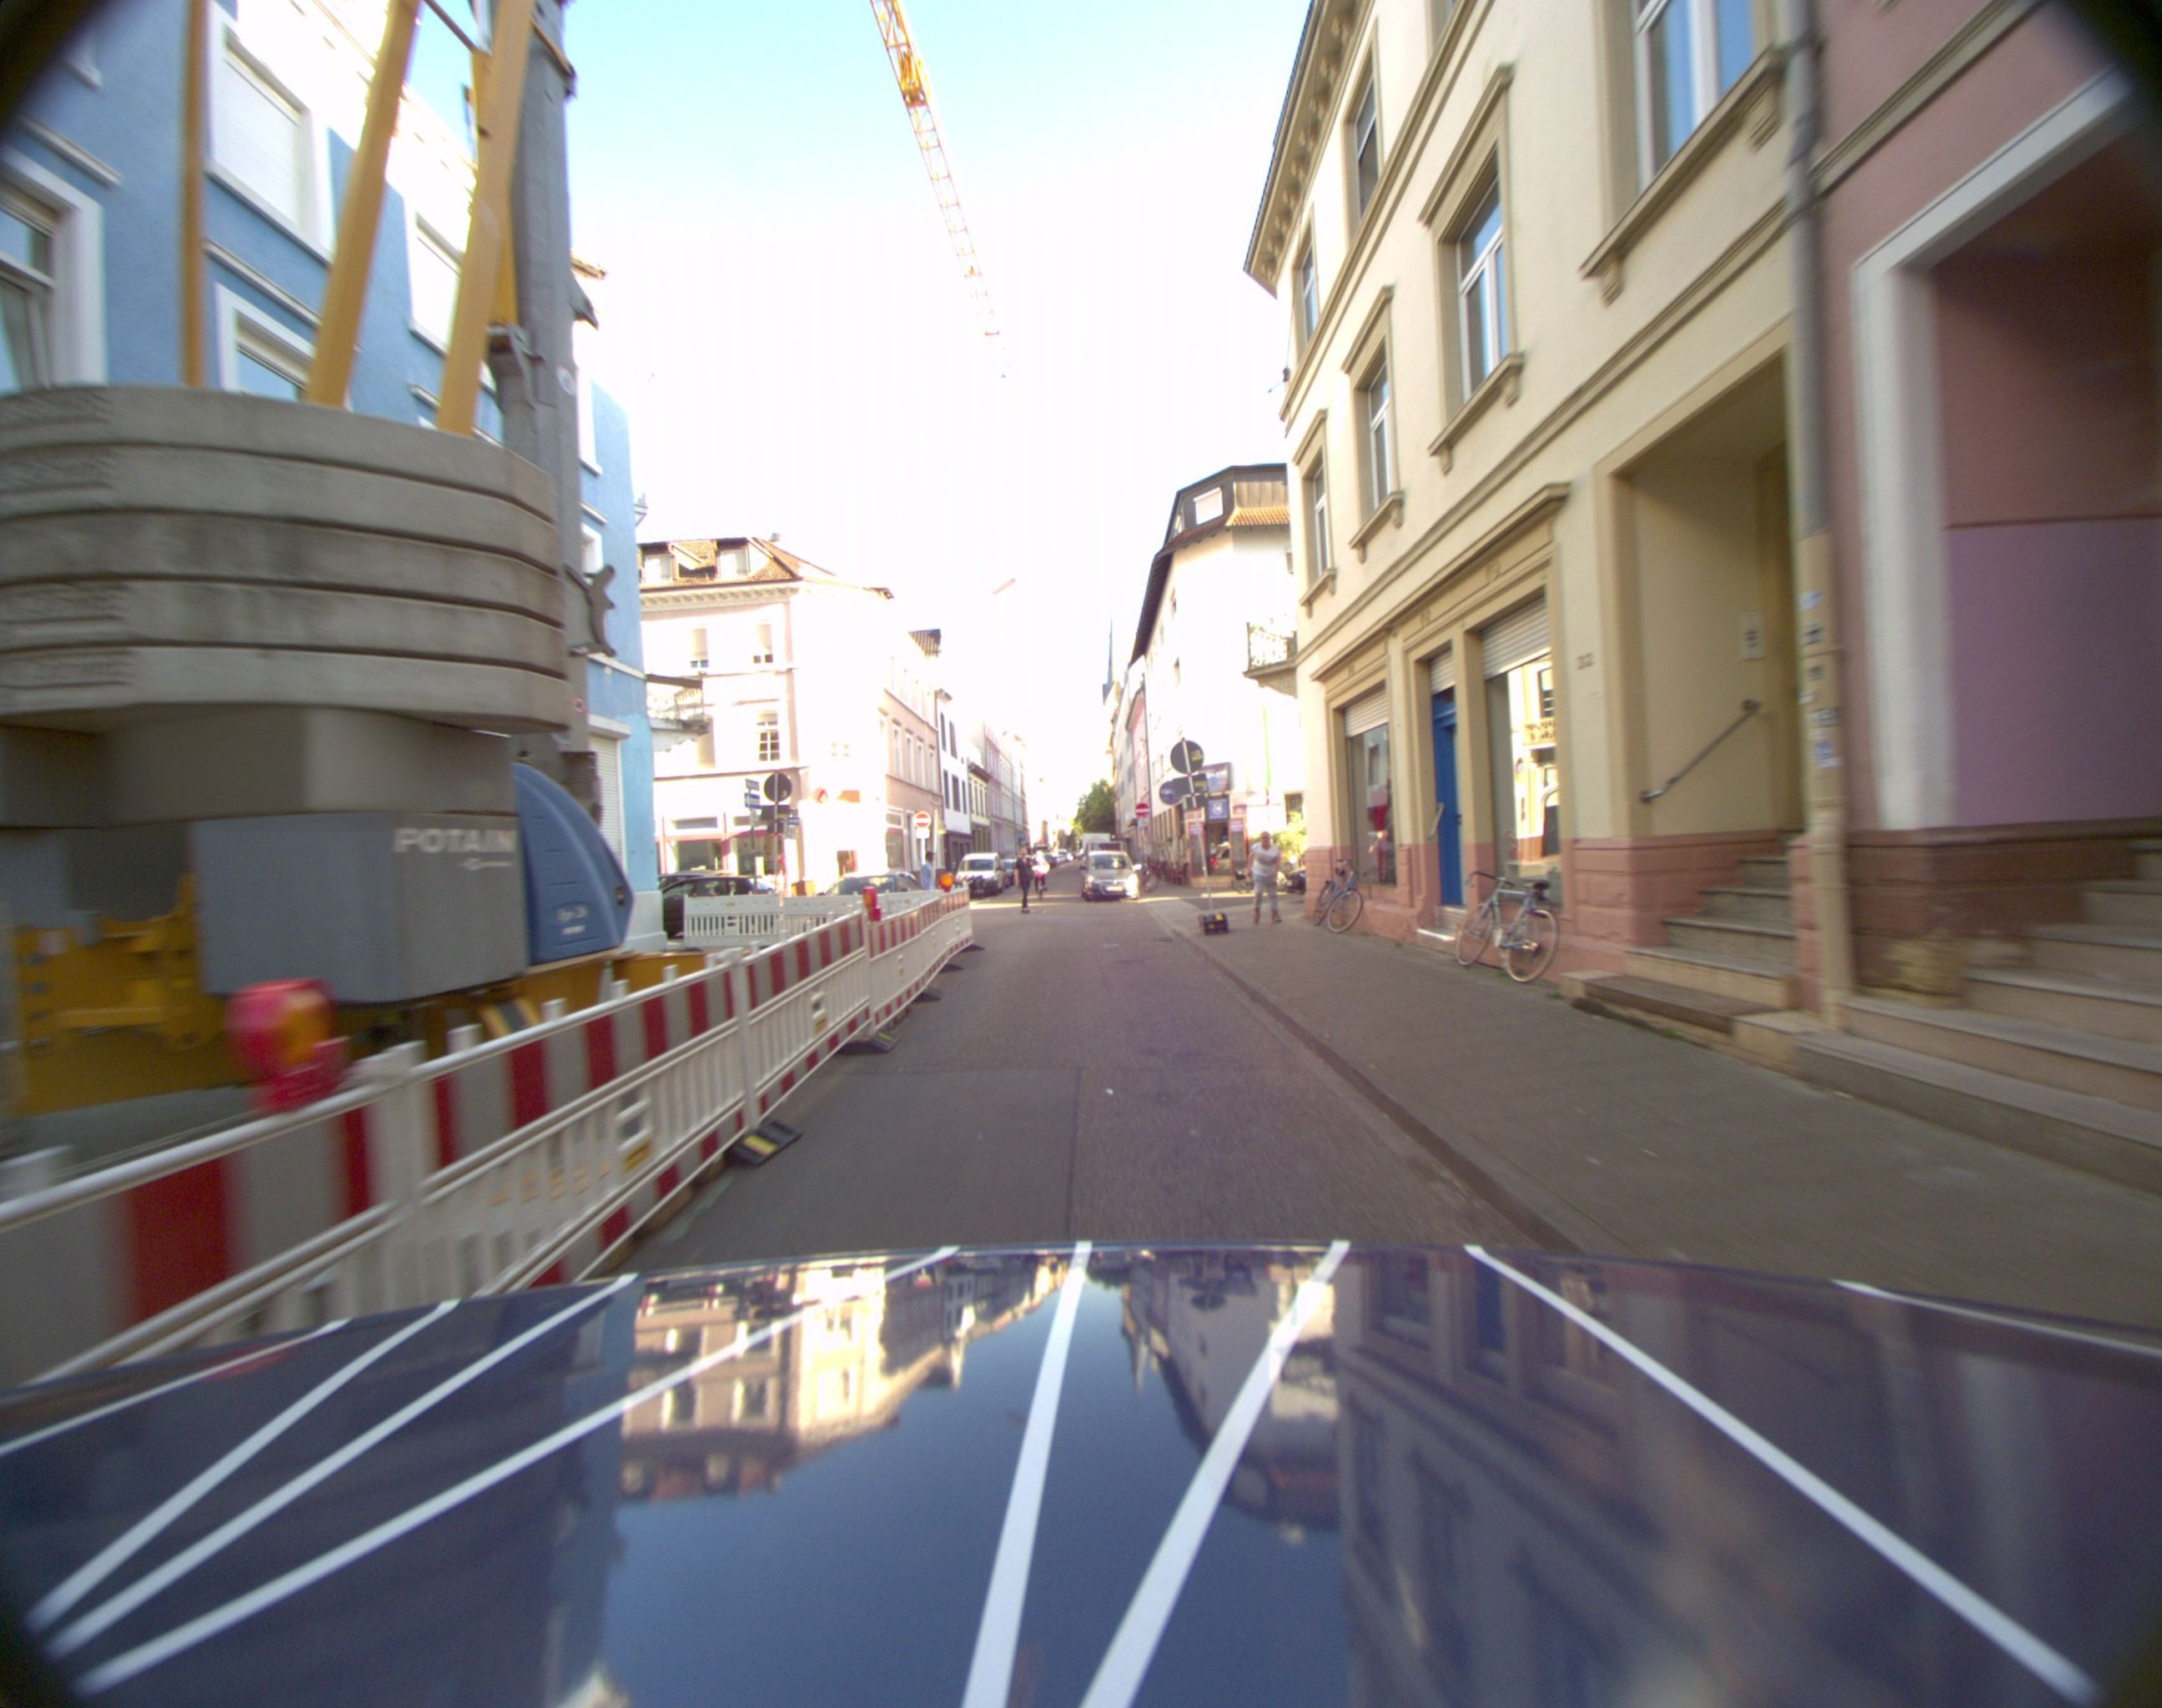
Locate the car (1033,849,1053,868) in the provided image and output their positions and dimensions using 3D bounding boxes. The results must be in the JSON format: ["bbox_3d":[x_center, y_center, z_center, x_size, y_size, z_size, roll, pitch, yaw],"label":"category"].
[{"bbox_3d":[-3.837,0.453,76.593,1.713,1.721,4.220,-2,1,0],"label":"car"}]

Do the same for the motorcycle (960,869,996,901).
[{"bbox_3d":[-4.013,1.197,29.831,0.720,1.080,1.997,-2,1,11],"label":"motorcycle"}]

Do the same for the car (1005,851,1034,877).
[{"bbox_3d":[-4.567,0.728,56.952,1.713,1.721,4.407,-2,1,0],"label":"car"}]

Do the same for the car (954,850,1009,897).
[{"bbox_3d":[-4.304,0.802,33.373,1.753,1.806,4.369,-2,1,0],"label":"car"}]

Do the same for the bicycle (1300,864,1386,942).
[{"bbox_3d":[3.940,0.699,11.580,0.605,1.016,1.818,-7,0,1],"label":"bicycle"}]

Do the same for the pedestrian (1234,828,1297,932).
[{"bbox_3d":[3.244,0.455,13.430,0.695,1.691,0.865,-8,-1,1],"label":"pedestrian"}]

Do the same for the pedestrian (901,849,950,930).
[{"bbox_3d":[-3.711,0.831,18.142,0.771,1.839,0.780,-4,1,9],"label":"pedestrian"}]

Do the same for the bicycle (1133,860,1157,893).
[{"bbox_3d":[2.409,0.829,28.653,0.578,1.132,1.460,-5,1,-5],"label":"bicycle"}]

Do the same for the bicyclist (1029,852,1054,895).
[{"bbox_3d":[-1.357,0.677,26.294,0.710,1.427,0.790,-2,1,3],"label":"bicyclist"}]

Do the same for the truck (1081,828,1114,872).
[{"bbox_3d":[1.293,-0.372,59.707,2.296,3.165,7.044,-3,1,2],"label":"truck"}]

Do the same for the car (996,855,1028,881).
[{"bbox_3d":[-4.411,0.896,48.991,1.620,1.495,3.772,-2,1,0],"label":"car"}]

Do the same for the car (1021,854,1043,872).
[{"bbox_3d":[-4.142,0.760,64.759,1.613,1.388,3.881,-2,1,0],"label":"car"}]

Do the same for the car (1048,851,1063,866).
[{"bbox_3d":[-3.677,0.612,110.048,1.999,2.002,4.562,-5,1,-3],"label":"car"}]

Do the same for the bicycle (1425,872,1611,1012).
[{"bbox_3d":[3.899,0.724,6.976,0.623,1.016,1.818,-5,0,1],"label":"bicycle"}]

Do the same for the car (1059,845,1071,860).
[{"bbox_3d":[-3.314,-0.274,153.658,1.999,2.777,4.562,-5,1,-3],"label":"car"}]

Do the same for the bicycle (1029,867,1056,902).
[{"bbox_3d":[-1.316,1.044,26.325,0.710,1.105,1.935,-2,1,3],"label":"bicycle"}]

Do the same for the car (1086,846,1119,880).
[{"bbox_3d":[1.237,0.468,45.386,1.807,1.834,4.243,-3,1,0],"label":"car"}]

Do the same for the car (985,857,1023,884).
[{"bbox_3d":[-4.455,0.929,44.456,1.736,1.388,3.881,-2,1,0],"label":"car"}]

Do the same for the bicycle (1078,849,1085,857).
[{"bbox_3d":[0.102,-0.173,158.426,1.020,1.641,3.546,-5,1,-4],"label":"bicycle"}]

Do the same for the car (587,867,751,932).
[{"bbox_3d":[-13.052,1.407,24.236,4.069,1.623,1.855,-4,3,1],"label":"car"}]

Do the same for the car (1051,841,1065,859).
[{"bbox_3d":[-3.846,-0.717,127.622,1.999,2.777,4.562,-5,1,-3],"label":"car"}]

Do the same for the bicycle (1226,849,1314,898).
[{"bbox_3d":[5.887,0.587,23.754,2.481,1.351,0.928,-3,1,1],"label":"bicycle"}]

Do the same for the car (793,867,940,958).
[{"bbox_3d":[-4.246,1.089,15.720,1.776,1.426,4.033,-4,1,0],"label":"car"}]

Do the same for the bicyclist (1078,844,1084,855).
[{"bbox_3d":[0.049,-0.880,158.389,1.020,2.280,1.531,-5,1,-4],"label":"bicyclist"}]

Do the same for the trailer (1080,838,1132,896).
[{"bbox_3d":[0.909,0.455,29.871,1.666,2.049,4.362,-2,1,-2],"label":"trailer"}]

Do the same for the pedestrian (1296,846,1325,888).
[{"bbox_3d":[7.400,0.414,24.538,0.687,1.259,0.660,-5,1,4],"label":"pedestrian"}]

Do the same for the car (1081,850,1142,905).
[{"bbox_3d":[0.930,0.714,25.218,1.726,1.596,4.165,-2,0,-1],"label":"car"}]

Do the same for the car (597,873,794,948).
[{"bbox_3d":[-9.354,1.343,18.633,3.877,1.445,1.677,-4,1,1],"label":"car"}]

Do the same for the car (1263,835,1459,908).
[{"bbox_3d":[6.880,0.414,18.958,4.150,1.447,1.758,-4,0,-2],"label":"car"}]

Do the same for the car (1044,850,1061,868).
[{"bbox_3d":[-3.607,0.614,97.434,1.999,2.002,4.562,-5,1,-2],"label":"car"}]

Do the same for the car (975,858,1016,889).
[{"bbox_3d":[-4.406,0.993,39.502,1.613,1.400,3.881,-2,1,0],"label":"car"}]

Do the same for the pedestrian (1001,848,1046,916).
[{"bbox_3d":[-1.552,0.728,20.578,0.830,1.782,0.987,-2,2,-31],"label":"pedestrian"}]

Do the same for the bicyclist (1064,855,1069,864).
[{"bbox_3d":[-2.547,0.996,136.893,0.716,1.650,0.877,-5,1,-2],"label":"bicyclist"}]
